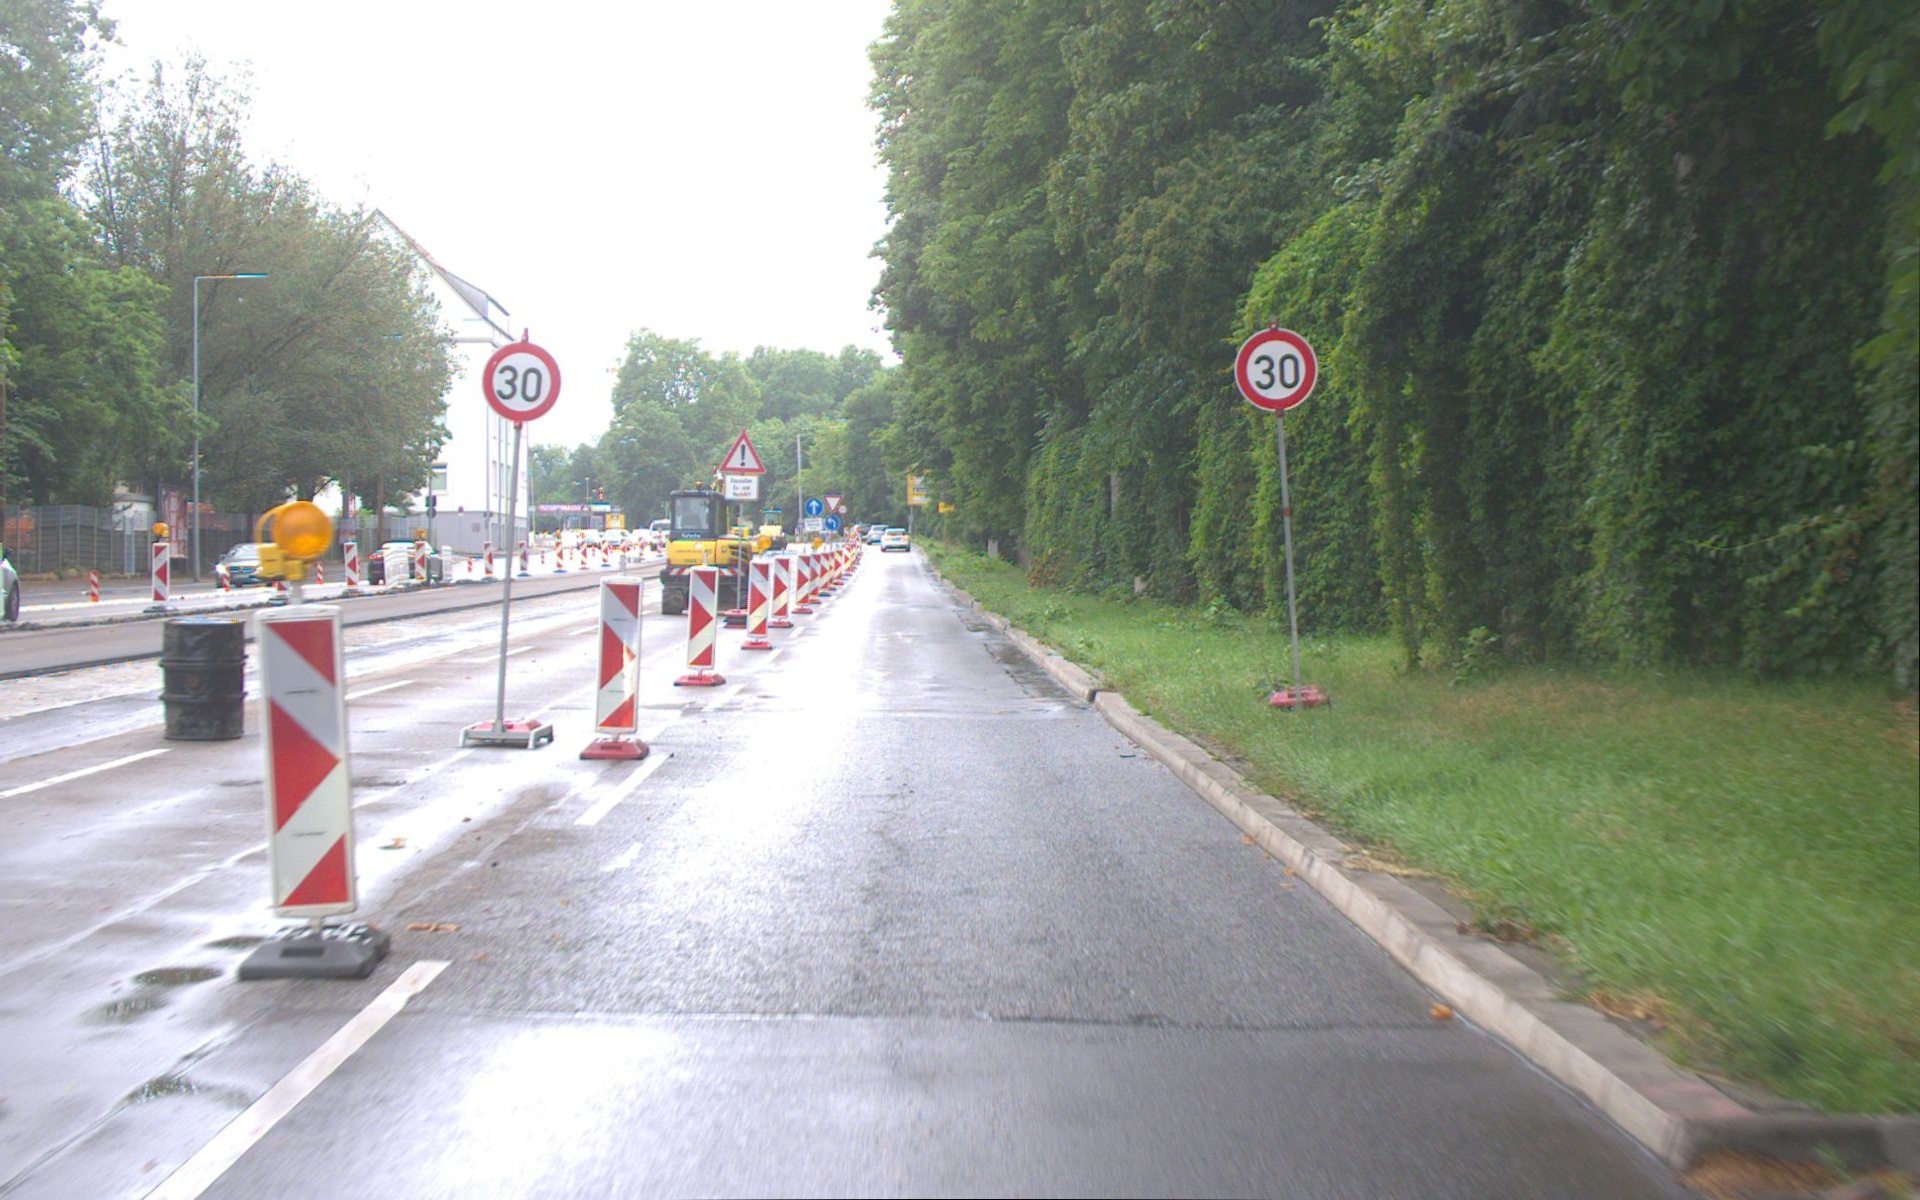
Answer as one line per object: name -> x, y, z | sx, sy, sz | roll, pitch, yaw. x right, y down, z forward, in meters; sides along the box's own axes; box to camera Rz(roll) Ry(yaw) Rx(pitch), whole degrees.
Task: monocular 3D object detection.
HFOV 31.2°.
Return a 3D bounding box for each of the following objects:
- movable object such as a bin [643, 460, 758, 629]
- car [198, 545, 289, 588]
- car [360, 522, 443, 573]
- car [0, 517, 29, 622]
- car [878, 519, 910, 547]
movable object such as a bin -> -5.382, -1.154, 72.006 | 1.993, 3.356, 5.983 | 1, 1, -1
car -> -23.112, -1.091, 111.044 | 1.993, 1.343, 4.791 | 1, 1, -1
car -> -17.199, -1.604, 106.015 | 1.993, 1.514, 4.000 | 1, 1, -1
car -> -16.008, -0.491, 53.782 | 1.854, 1.642, 4.000 | 1, 1, -1
car -> -4.175, -4.232, 217.643 | 1.993, 1.667, 4.000 | 1, 1, -1
